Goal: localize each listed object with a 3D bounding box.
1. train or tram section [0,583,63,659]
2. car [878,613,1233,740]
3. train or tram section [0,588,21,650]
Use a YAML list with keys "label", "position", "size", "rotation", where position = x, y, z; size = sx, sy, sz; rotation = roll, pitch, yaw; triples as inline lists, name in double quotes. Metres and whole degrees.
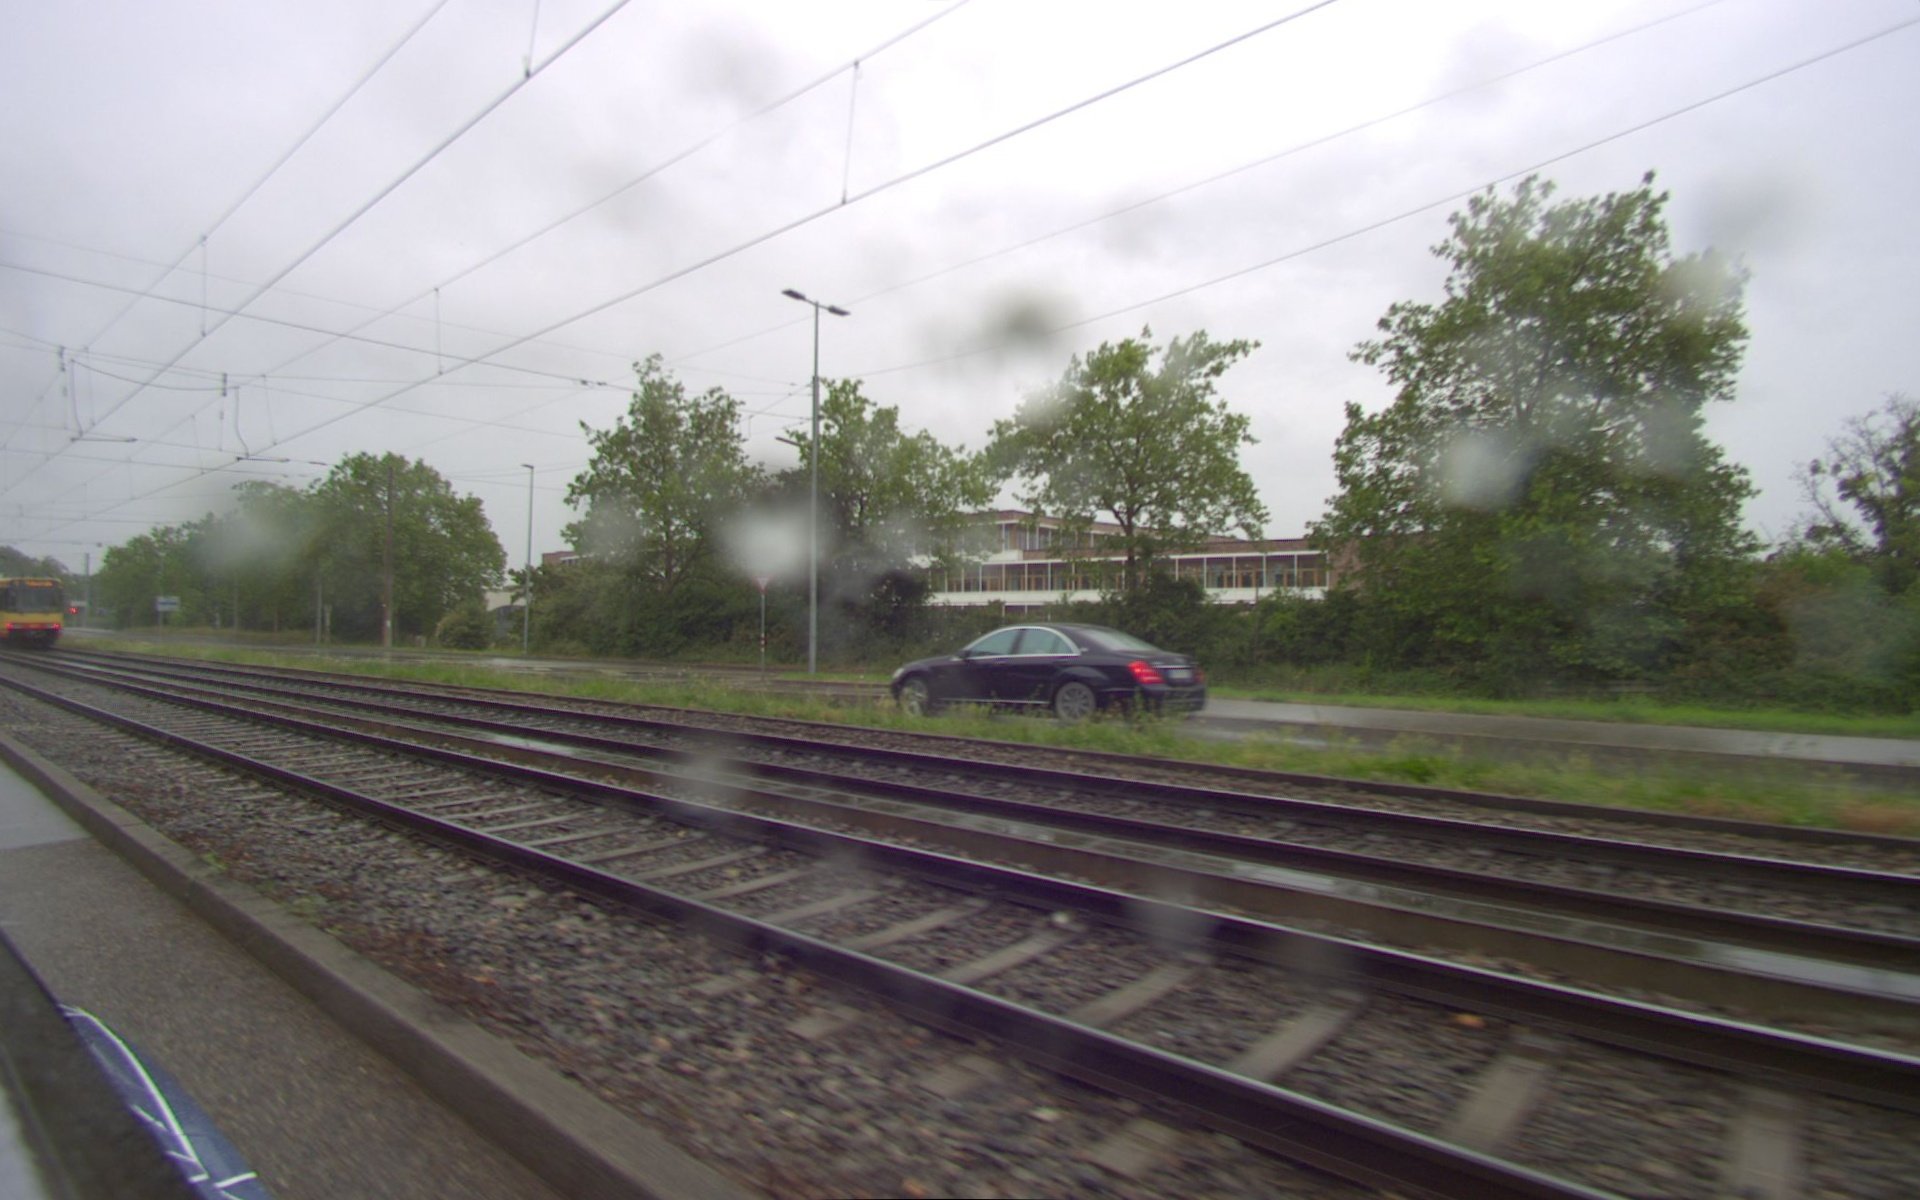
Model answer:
- label: "train or tram section"
  position: [-51.050, 1.066, 54.333]
  size: [15.100, 3.651, 2.428]
  rotation: [-1, 0, 41]
- label: "car"
  position: [1.257, 0.978, 14.843]
  size: [4.953, 1.534, 1.973]
  rotation: [-1, 0, 40]
- label: "train or tram section"
  position: [-62.381, 1.213, 64.308]
  size: [15.100, 3.651, 2.428]
  rotation: [-1, 0, 41]
